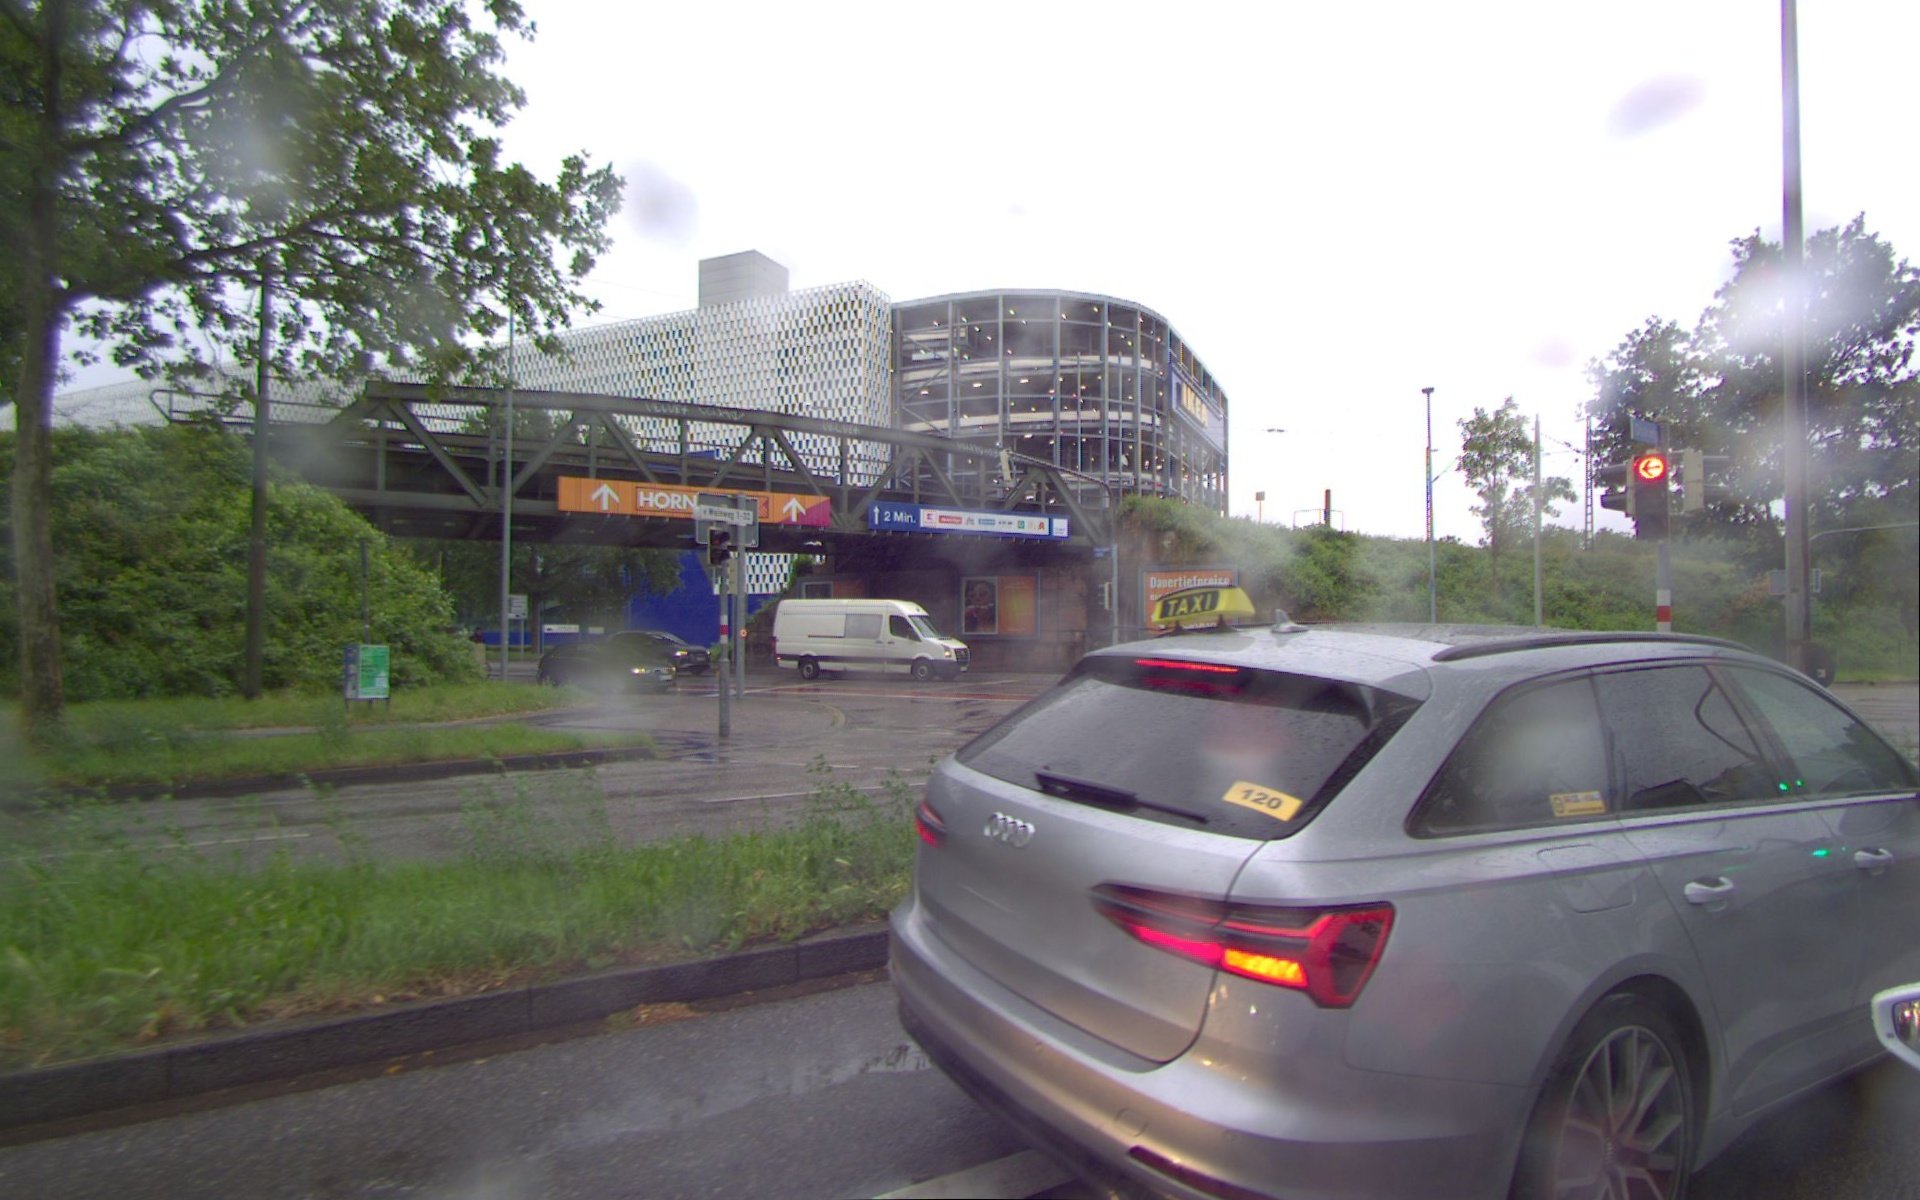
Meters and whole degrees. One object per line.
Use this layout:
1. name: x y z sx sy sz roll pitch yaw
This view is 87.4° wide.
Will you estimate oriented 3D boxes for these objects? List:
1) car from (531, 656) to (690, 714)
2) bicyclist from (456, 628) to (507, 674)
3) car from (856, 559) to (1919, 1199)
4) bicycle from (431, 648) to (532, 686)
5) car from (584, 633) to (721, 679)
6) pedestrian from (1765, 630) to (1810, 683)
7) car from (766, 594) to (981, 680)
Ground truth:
1. car: -9.654 2.294 27.747 4.067 1.453 1.693 -1 -2 22
2. bicyclist: -16.222 1.728 34.075 1.037 1.503 1.152 -1 -3 25
3. car: 2.180 0.783 3.494 4.766 1.595 1.760 1 0 -32
4. bicycle: -16.224 2.248 34.057 3.385 1.220 1.199 -1 -3 25
5. car: -11.499 2.049 37.520 4.858 1.621 1.882 -1 -2 24
6. pedestrian: 29.904 2.043 36.302 1.122 1.871 1.092 2 -3 -42
7. car: -2.912 1.209 33.337 6.846 2.645 2.386 -1 -2 25
